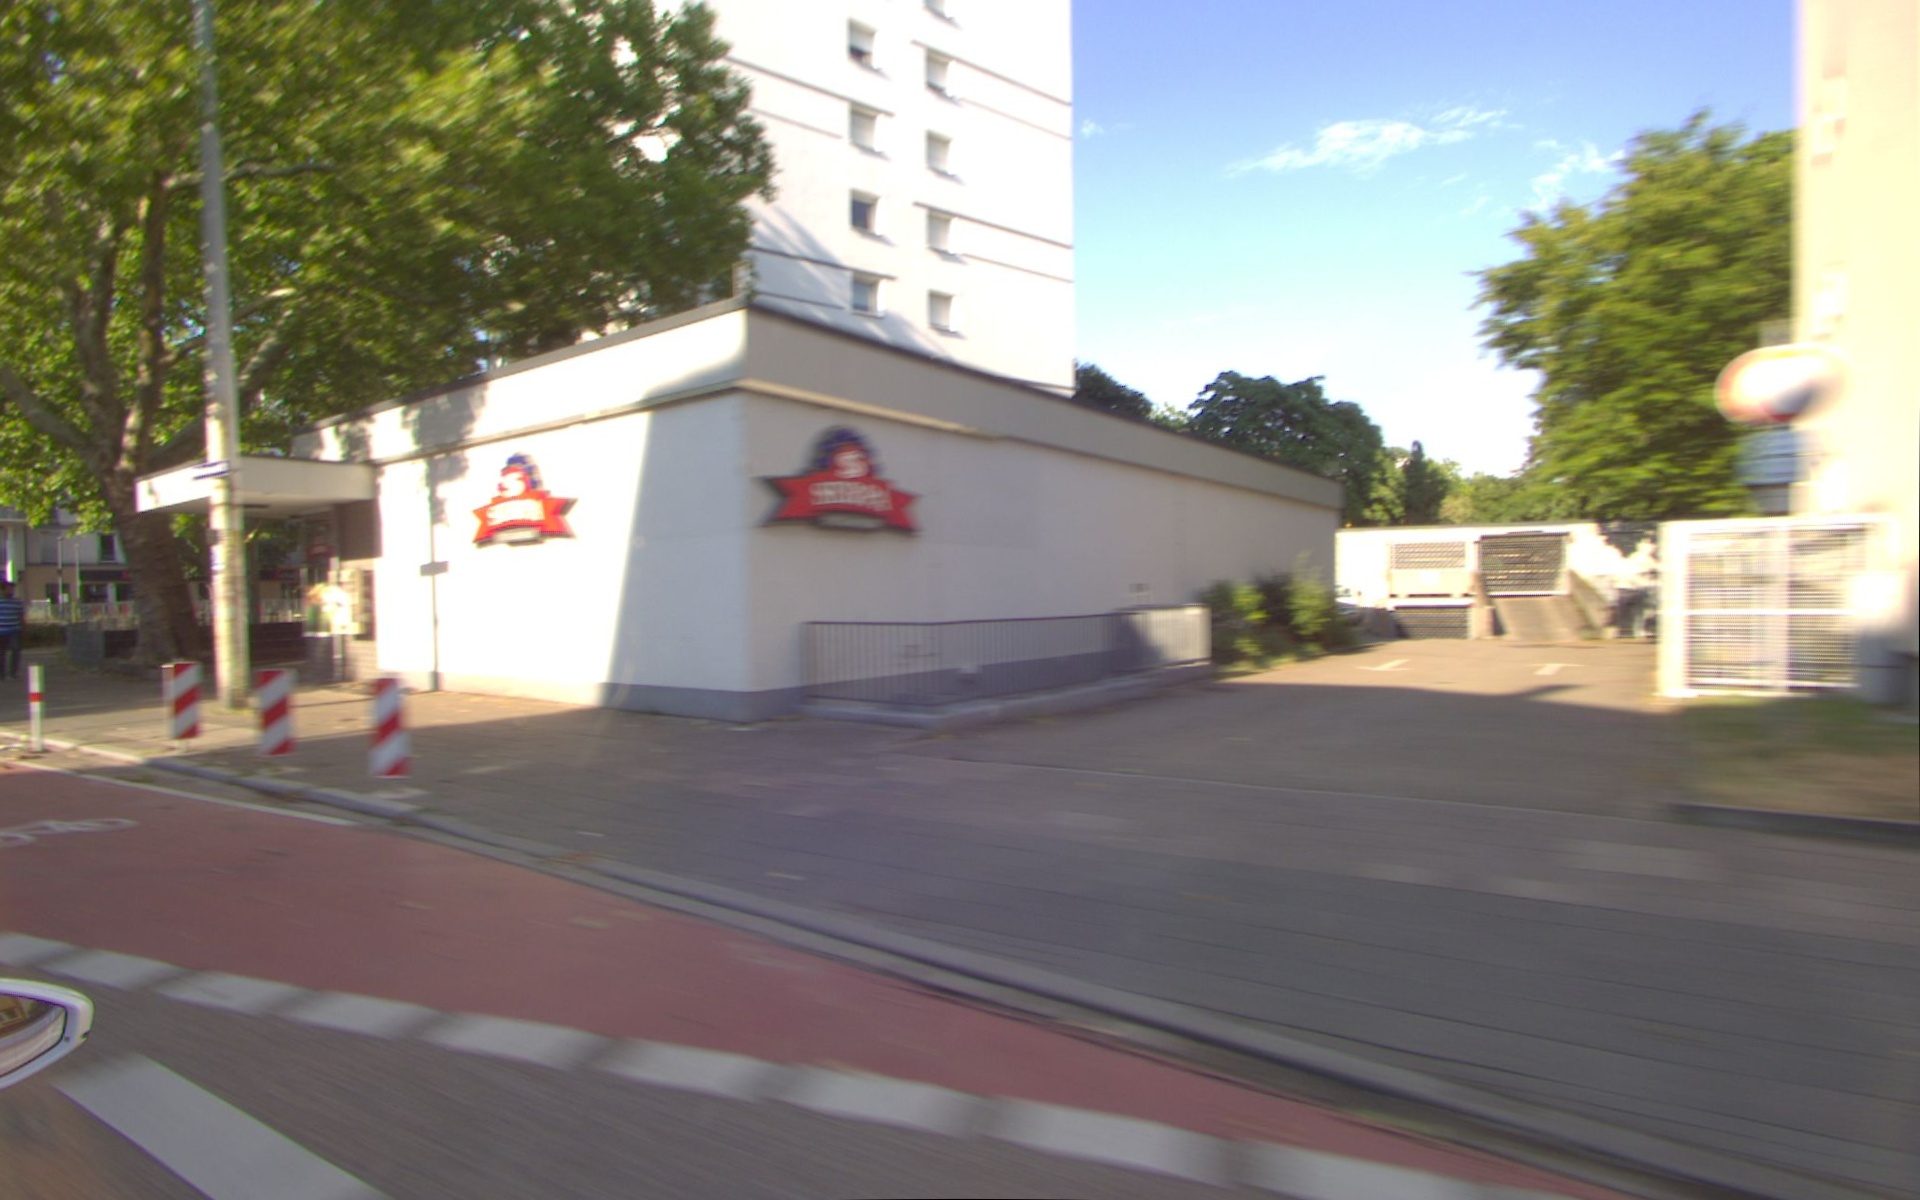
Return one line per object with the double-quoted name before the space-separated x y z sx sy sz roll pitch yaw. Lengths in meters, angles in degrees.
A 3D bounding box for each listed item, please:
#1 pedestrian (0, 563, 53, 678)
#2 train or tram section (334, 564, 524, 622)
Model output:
"pedestrian" -17.555 0.363 18.460 1.136 2.042 0.825 -1 3 32
"train or tram section" -37.864 -0.368 71.768 11.686 3.686 3.393 2 -2 -37
